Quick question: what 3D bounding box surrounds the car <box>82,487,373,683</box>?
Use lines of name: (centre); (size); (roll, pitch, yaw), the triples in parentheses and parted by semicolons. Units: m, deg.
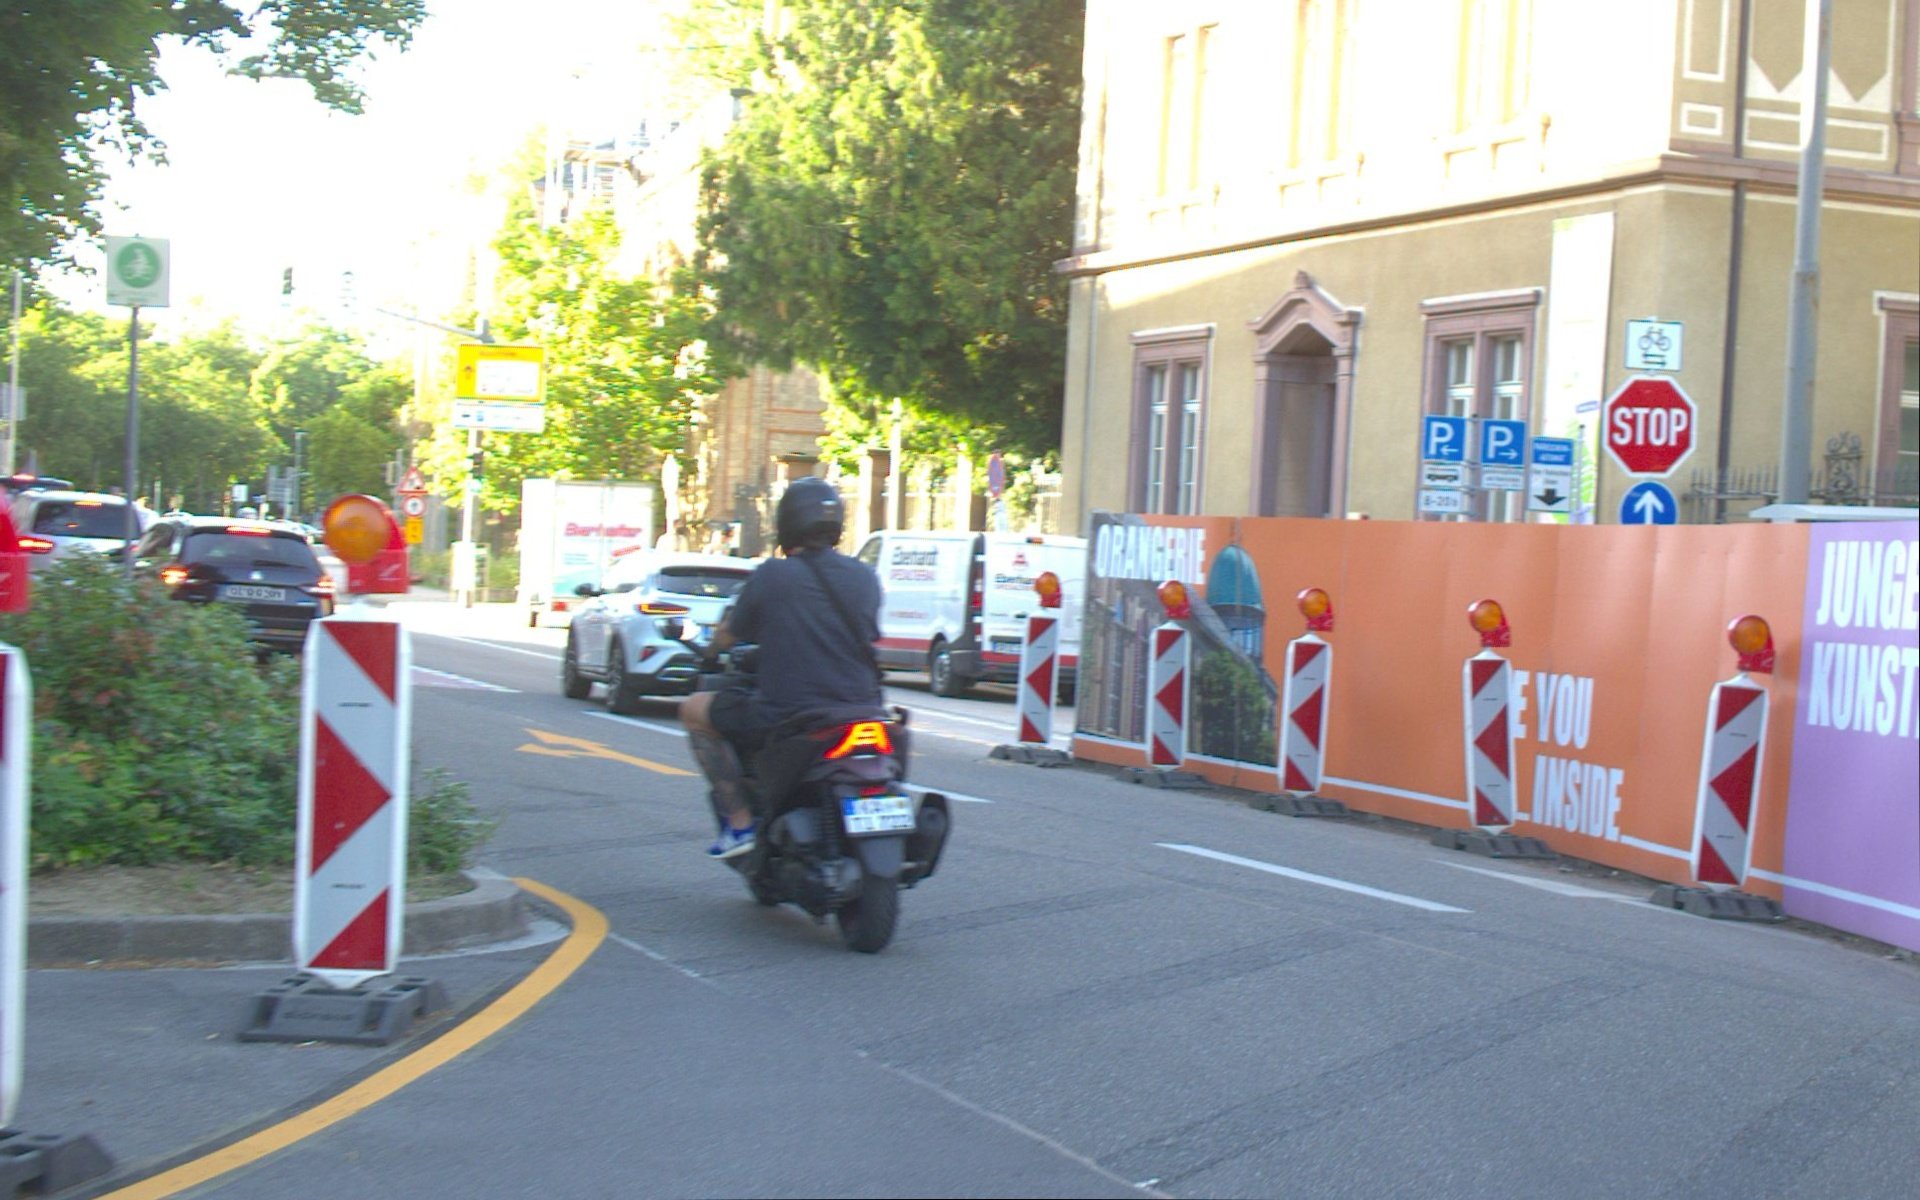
car: (-7.208, -0.198, 33.452); (1.993, 1.652, 4.738); (3, 1, -21)

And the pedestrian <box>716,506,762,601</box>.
pedestrian: (-4.197, -0.887, 65.359); (0.639, 1.762, 0.738); (3, 1, -15)

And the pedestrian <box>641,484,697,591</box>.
pedestrian: (-5.278, -1.130, 62.335); (0.715, 1.888, 0.890); (2, 2, -21)

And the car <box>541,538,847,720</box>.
car: (-2.527, 0.220, 31.706); (1.993, 1.448, 4.001); (3, 1, -16)

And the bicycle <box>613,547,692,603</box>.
bicycle: (-6.211, -0.505, 69.431); (1.465, 1.035, 0.479); (3, 1, -18)

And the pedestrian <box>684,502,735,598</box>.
pedestrian: (-4.578, -0.914, 62.793); (0.682, 1.695, 0.694); (2, 1, -19)

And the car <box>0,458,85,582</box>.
car: (-15.844, -1.359, 57.047); (2.067, 1.909, 5.035); (3, 0, -19)

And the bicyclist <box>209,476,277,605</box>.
bicyclist: (-9.538, -0.795, 45.704); (0.672, 1.646, 0.887); (4, 0, -18)

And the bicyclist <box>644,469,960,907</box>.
bicyclist: (-0.622, 0.310, 13.053); (0.867, 1.518, 1.231); (5, 0, -12)

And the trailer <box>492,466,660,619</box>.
trailer: (-6.790, -1.045, 60.385); (2.078, 2.519, 4.494); (2, 2, -17)

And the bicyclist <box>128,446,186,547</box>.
bicyclist: (-13.238, -1.707, 56.643); (0.802, 1.602, 0.825); (3, 1, -16)

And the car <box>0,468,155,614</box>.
car: (-11.950, -0.825, 45.584); (1.990, 1.743, 4.749); (3, 1, -18)

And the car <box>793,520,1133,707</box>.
car: (-0.067, 0.109, 41.878); (2.014, 1.939, 5.483); (5, 0, -23)

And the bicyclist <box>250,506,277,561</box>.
bicyclist: (-21.169, -2.019, 104.415); (0.636, 1.609, 1.284); (5, 1, -14)

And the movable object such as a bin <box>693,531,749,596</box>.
movable object such as a bin: (-4.305, -0.663, 61.946); (0.711, 1.113, 1.051); (1, 2, -20)

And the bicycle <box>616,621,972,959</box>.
bicycle: (-0.689, 0.671, 13.109); (0.870, 1.039, 2.454); (5, 0, -12)
